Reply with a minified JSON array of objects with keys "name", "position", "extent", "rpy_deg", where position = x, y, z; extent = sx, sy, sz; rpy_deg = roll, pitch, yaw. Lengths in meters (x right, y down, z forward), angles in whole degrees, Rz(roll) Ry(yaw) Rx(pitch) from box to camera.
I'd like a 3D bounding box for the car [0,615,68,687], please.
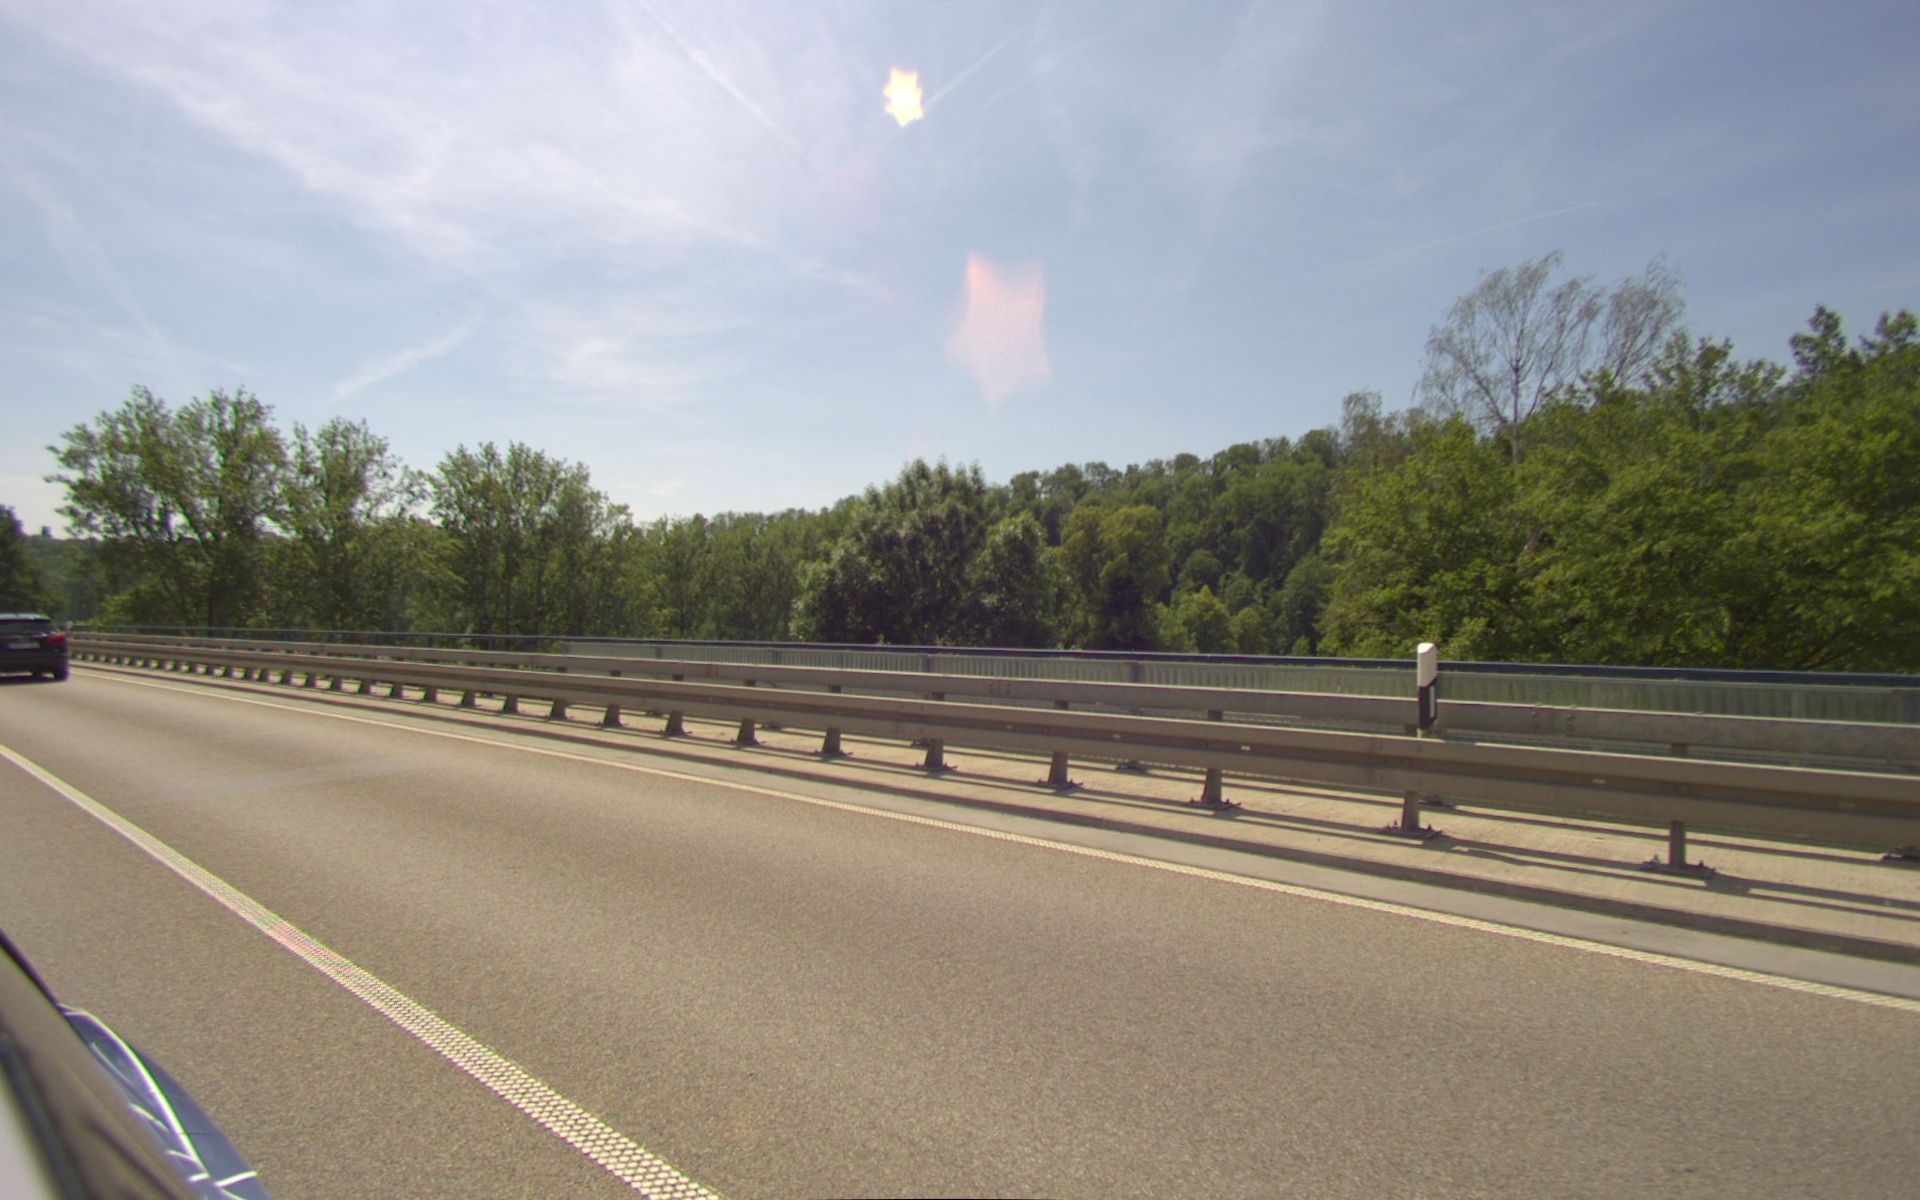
[{"name":"car","position":[-21.689,1.098,22.798],"extent":[4.565,1.494,1.704],"rpy_deg":[-1,-1,39]}]
